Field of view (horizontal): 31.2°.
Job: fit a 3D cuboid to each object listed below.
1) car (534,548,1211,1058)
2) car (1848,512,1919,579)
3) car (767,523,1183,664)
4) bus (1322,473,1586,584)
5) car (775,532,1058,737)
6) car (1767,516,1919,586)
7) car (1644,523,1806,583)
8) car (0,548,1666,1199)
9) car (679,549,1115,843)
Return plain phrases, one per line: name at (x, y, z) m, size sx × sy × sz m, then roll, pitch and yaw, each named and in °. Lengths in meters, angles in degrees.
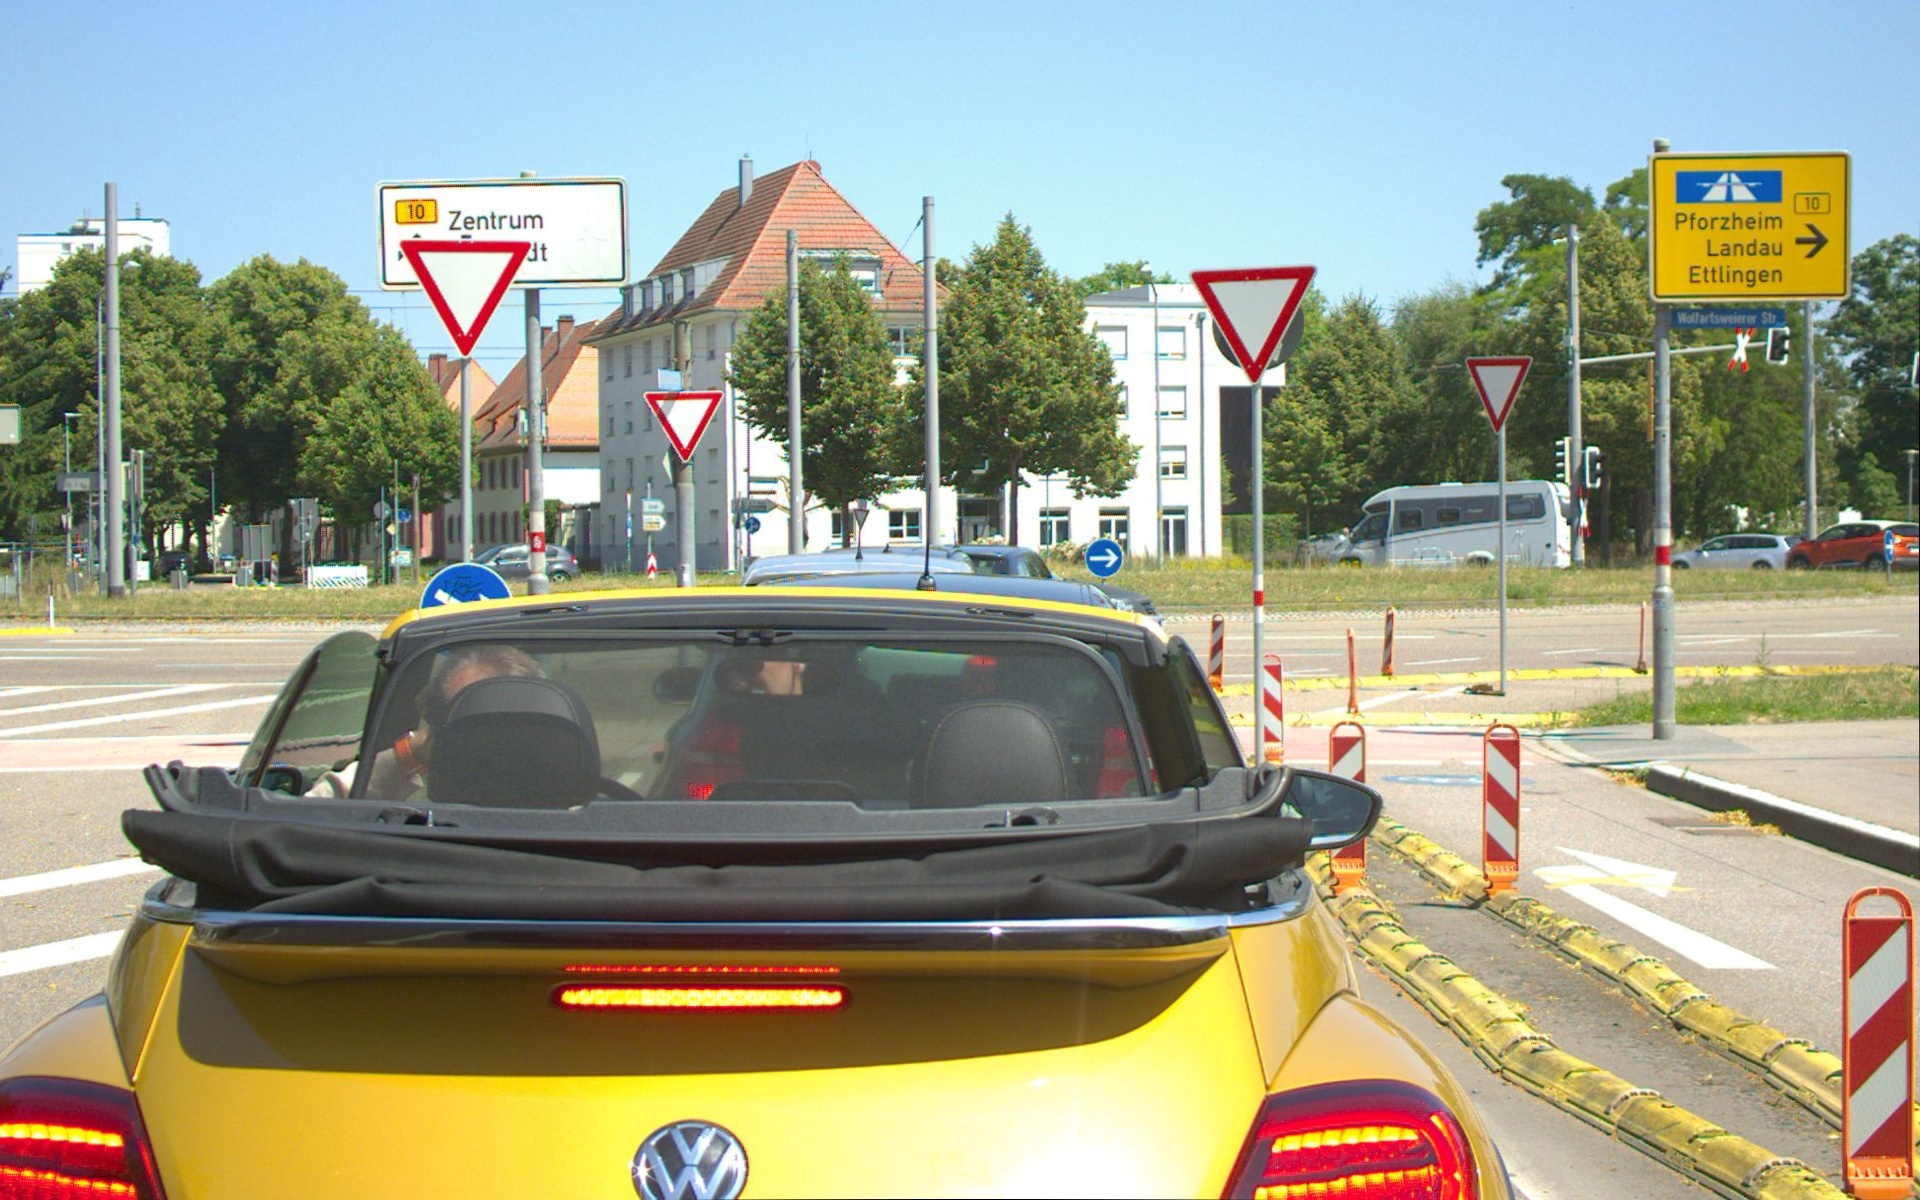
car at (-0.264, 0.528, 11.628) m, size 1.851 × 1.361 × 4.258 m, roll -1°, pitch 1°, yaw -1°
car at (25.966, -1.436, 91.816) m, size 3.997 × 1.766 × 1.782 m, roll 1°, pitch 1°, yaw 43°
car at (0.198, -0.083, 39.377) m, size 4.408 × 1.522 × 1.999 m, roll -1°, pitch 1°, yaw 14°
bus at (14.378, -2.093, 100.317) m, size 7.264 × 3.161 × 2.257 m, roll 1°, pitch 1°, yaw 29°
car at (-0.346, 0.208, 27.586) m, size 2.065 × 1.476 × 4.543 m, roll -1°, pitch 1°, yaw -1°
car at (22.916, -1.262, 88.339) m, size 1.842 × 1.730 × 4.445 m, roll 1°, pitch 1°, yaw -26°
car at (22.771, -1.405, 102.425) m, size 1.843 × 1.730 × 4.442 m, roll 0°, pitch 1°, yaw -42°
car at (-0.310, 0.679, 5.082) m, size 1.765 × 1.476 × 4.258 m, roll 1°, pitch 1°, yaw -1°
car at (-0.326, 0.439, 18.589) m, size 2.065 × 1.377 × 4.258 m, roll 1°, pitch 1°, yaw -1°
